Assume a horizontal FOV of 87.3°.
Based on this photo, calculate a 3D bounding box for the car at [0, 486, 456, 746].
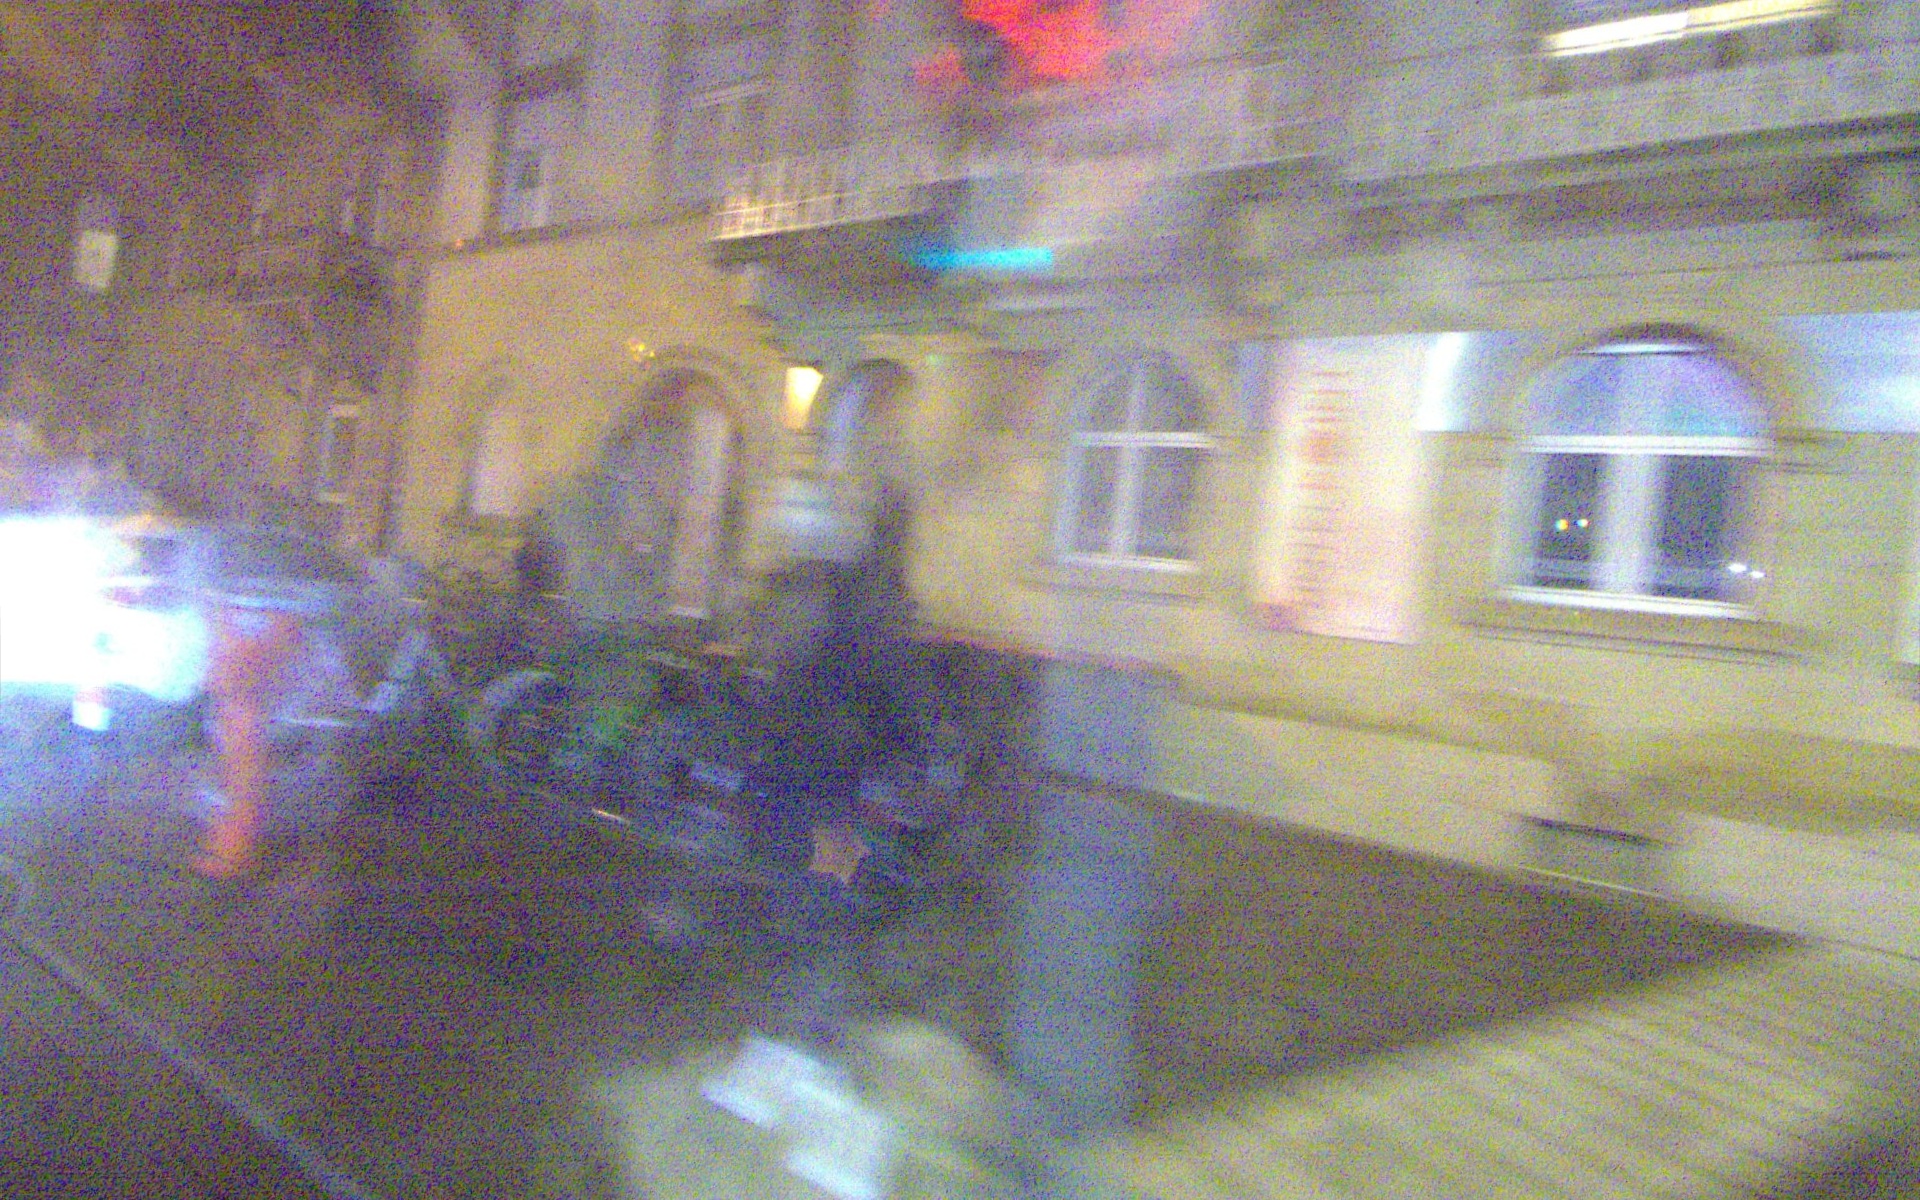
[{"bbox_3d":[-5.983,0.034,8.200,1.824,1.476,4.181,7,0,-5],"label":"car"}]

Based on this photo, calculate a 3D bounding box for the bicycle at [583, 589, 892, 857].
[{"bbox_3d":[-1.195,0.647,5.885,0.585,1.267,1.900,6,0,27],"label":"bicycle"}]

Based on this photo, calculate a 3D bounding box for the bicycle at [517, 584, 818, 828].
[{"bbox_3d":[-1.746,0.612,6.361,0.585,1.267,1.900,6,0,27],"label":"bicycle"}]

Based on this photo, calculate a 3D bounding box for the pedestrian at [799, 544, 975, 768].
[{"bbox_3d":[-0.587,0.443,8.196,0.983,1.637,0.782,7,0,33],"label":"pedestrian"}]

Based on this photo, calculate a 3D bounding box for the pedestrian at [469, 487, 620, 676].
[{"bbox_3d":[-4.549,-0.194,11.048,0.983,1.904,0.958,7,0,33],"label":"pedestrian"}]

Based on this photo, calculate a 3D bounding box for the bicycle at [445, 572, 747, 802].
[{"bbox_3d":[-2.310,0.537,6.675,0.585,1.267,1.900,6,0,27],"label":"bicycle"}]

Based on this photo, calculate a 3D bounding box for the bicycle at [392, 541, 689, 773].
[{"bbox_3d":[-2.839,0.385,7.054,0.585,1.377,1.900,6,0,27],"label":"bicycle"}]

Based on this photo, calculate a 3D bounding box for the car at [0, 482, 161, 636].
[{"bbox_3d":[-10.863,-0.524,10.444,1.699,1.610,4.184,7,0,-1],"label":"car"}]

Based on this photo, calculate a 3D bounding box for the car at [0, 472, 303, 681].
[{"bbox_3d":[-8.373,-0.303,9.418,1.849,1.596,4.181,7,0,-5],"label":"car"}]

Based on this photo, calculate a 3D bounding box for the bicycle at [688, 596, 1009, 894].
[{"bbox_3d":[-0.499,0.692,5.469,0.698,1.267,1.900,6,0,27],"label":"bicycle"}]
